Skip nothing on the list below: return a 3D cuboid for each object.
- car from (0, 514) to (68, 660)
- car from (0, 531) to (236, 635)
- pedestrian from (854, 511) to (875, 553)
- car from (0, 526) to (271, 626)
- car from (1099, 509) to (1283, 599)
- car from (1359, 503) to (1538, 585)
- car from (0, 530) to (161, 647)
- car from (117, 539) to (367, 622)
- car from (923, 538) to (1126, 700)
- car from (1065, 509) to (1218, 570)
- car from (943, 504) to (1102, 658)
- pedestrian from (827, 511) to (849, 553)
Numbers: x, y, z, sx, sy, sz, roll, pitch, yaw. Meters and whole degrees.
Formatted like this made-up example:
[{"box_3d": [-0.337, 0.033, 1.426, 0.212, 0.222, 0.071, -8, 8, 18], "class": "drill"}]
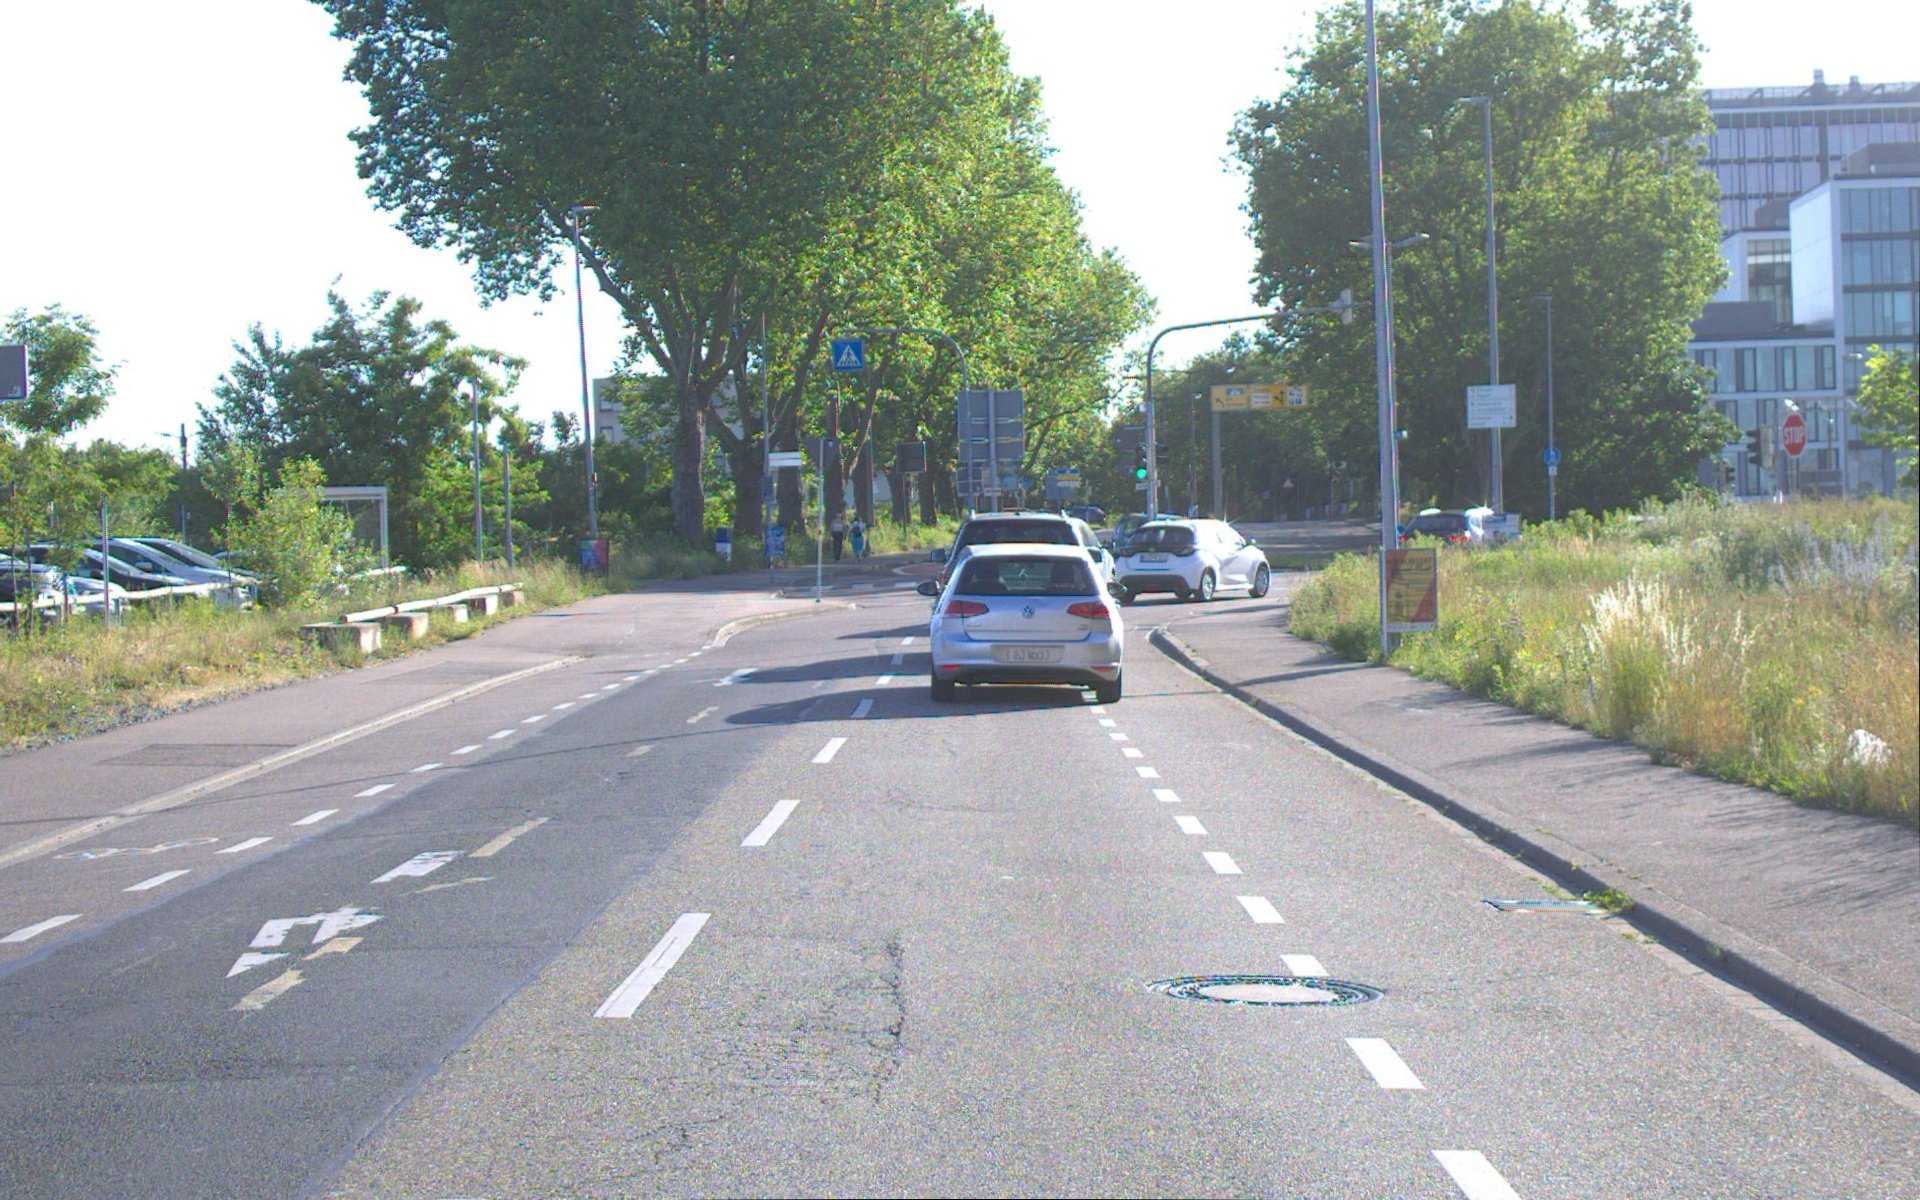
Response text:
[{"box_3d": [-14.106, -0.168, 43.987, 4.845, 1.828, 2.000, 0, 1, 0], "class": "car"}, {"box_3d": [-13.306, -0.270, 52.485, 4.088, 1.552, 1.878, 0, 1, 0], "class": "car"}, {"box_3d": [-3.242, -2.306, 116.583, 0.678, 1.410, 0.684, 0, 1, 1], "class": "pedestrian"}, {"box_3d": [-13.547, -0.399, 55.292, 4.542, 1.552, 1.878, 0, 1, 0], "class": "car"}, {"box_3d": [4.288, -0.863, 63.297, 1.901, 1.590, 3.994, 0, 1, 28], "class": "car"}, {"box_3d": [10.549, -1.215, 74.063, 2.168, 1.678, 3.992, 0, 1, 36], "class": "car"}, {"box_3d": [-13.471, -0.168, 47.069, 4.594, 1.552, 2.000, 0, 1, 0], "class": "car"}, {"box_3d": [-13.874, -0.395, 66.593, 4.425, 1.552, 1.878, 0, 1, 0], "class": "car"}, {"box_3d": [0.607, 0.133, 32.381, 1.790, 1.415, 4.000, 0, 1, 1], "class": "car"}, {"box_3d": [4.854, -1.635, 92.151, 1.994, 1.590, 3.999, -1, 2, -37], "class": "car"}, {"box_3d": [0.736, -0.271, 41.956, 1.819, 1.762, 4.629, 0, 1, 0], "class": "car"}, {"box_3d": [-4.147, -2.302, 116.920, 0.678, 1.410, 0.684, 0, 1, 1], "class": "pedestrian"}]
